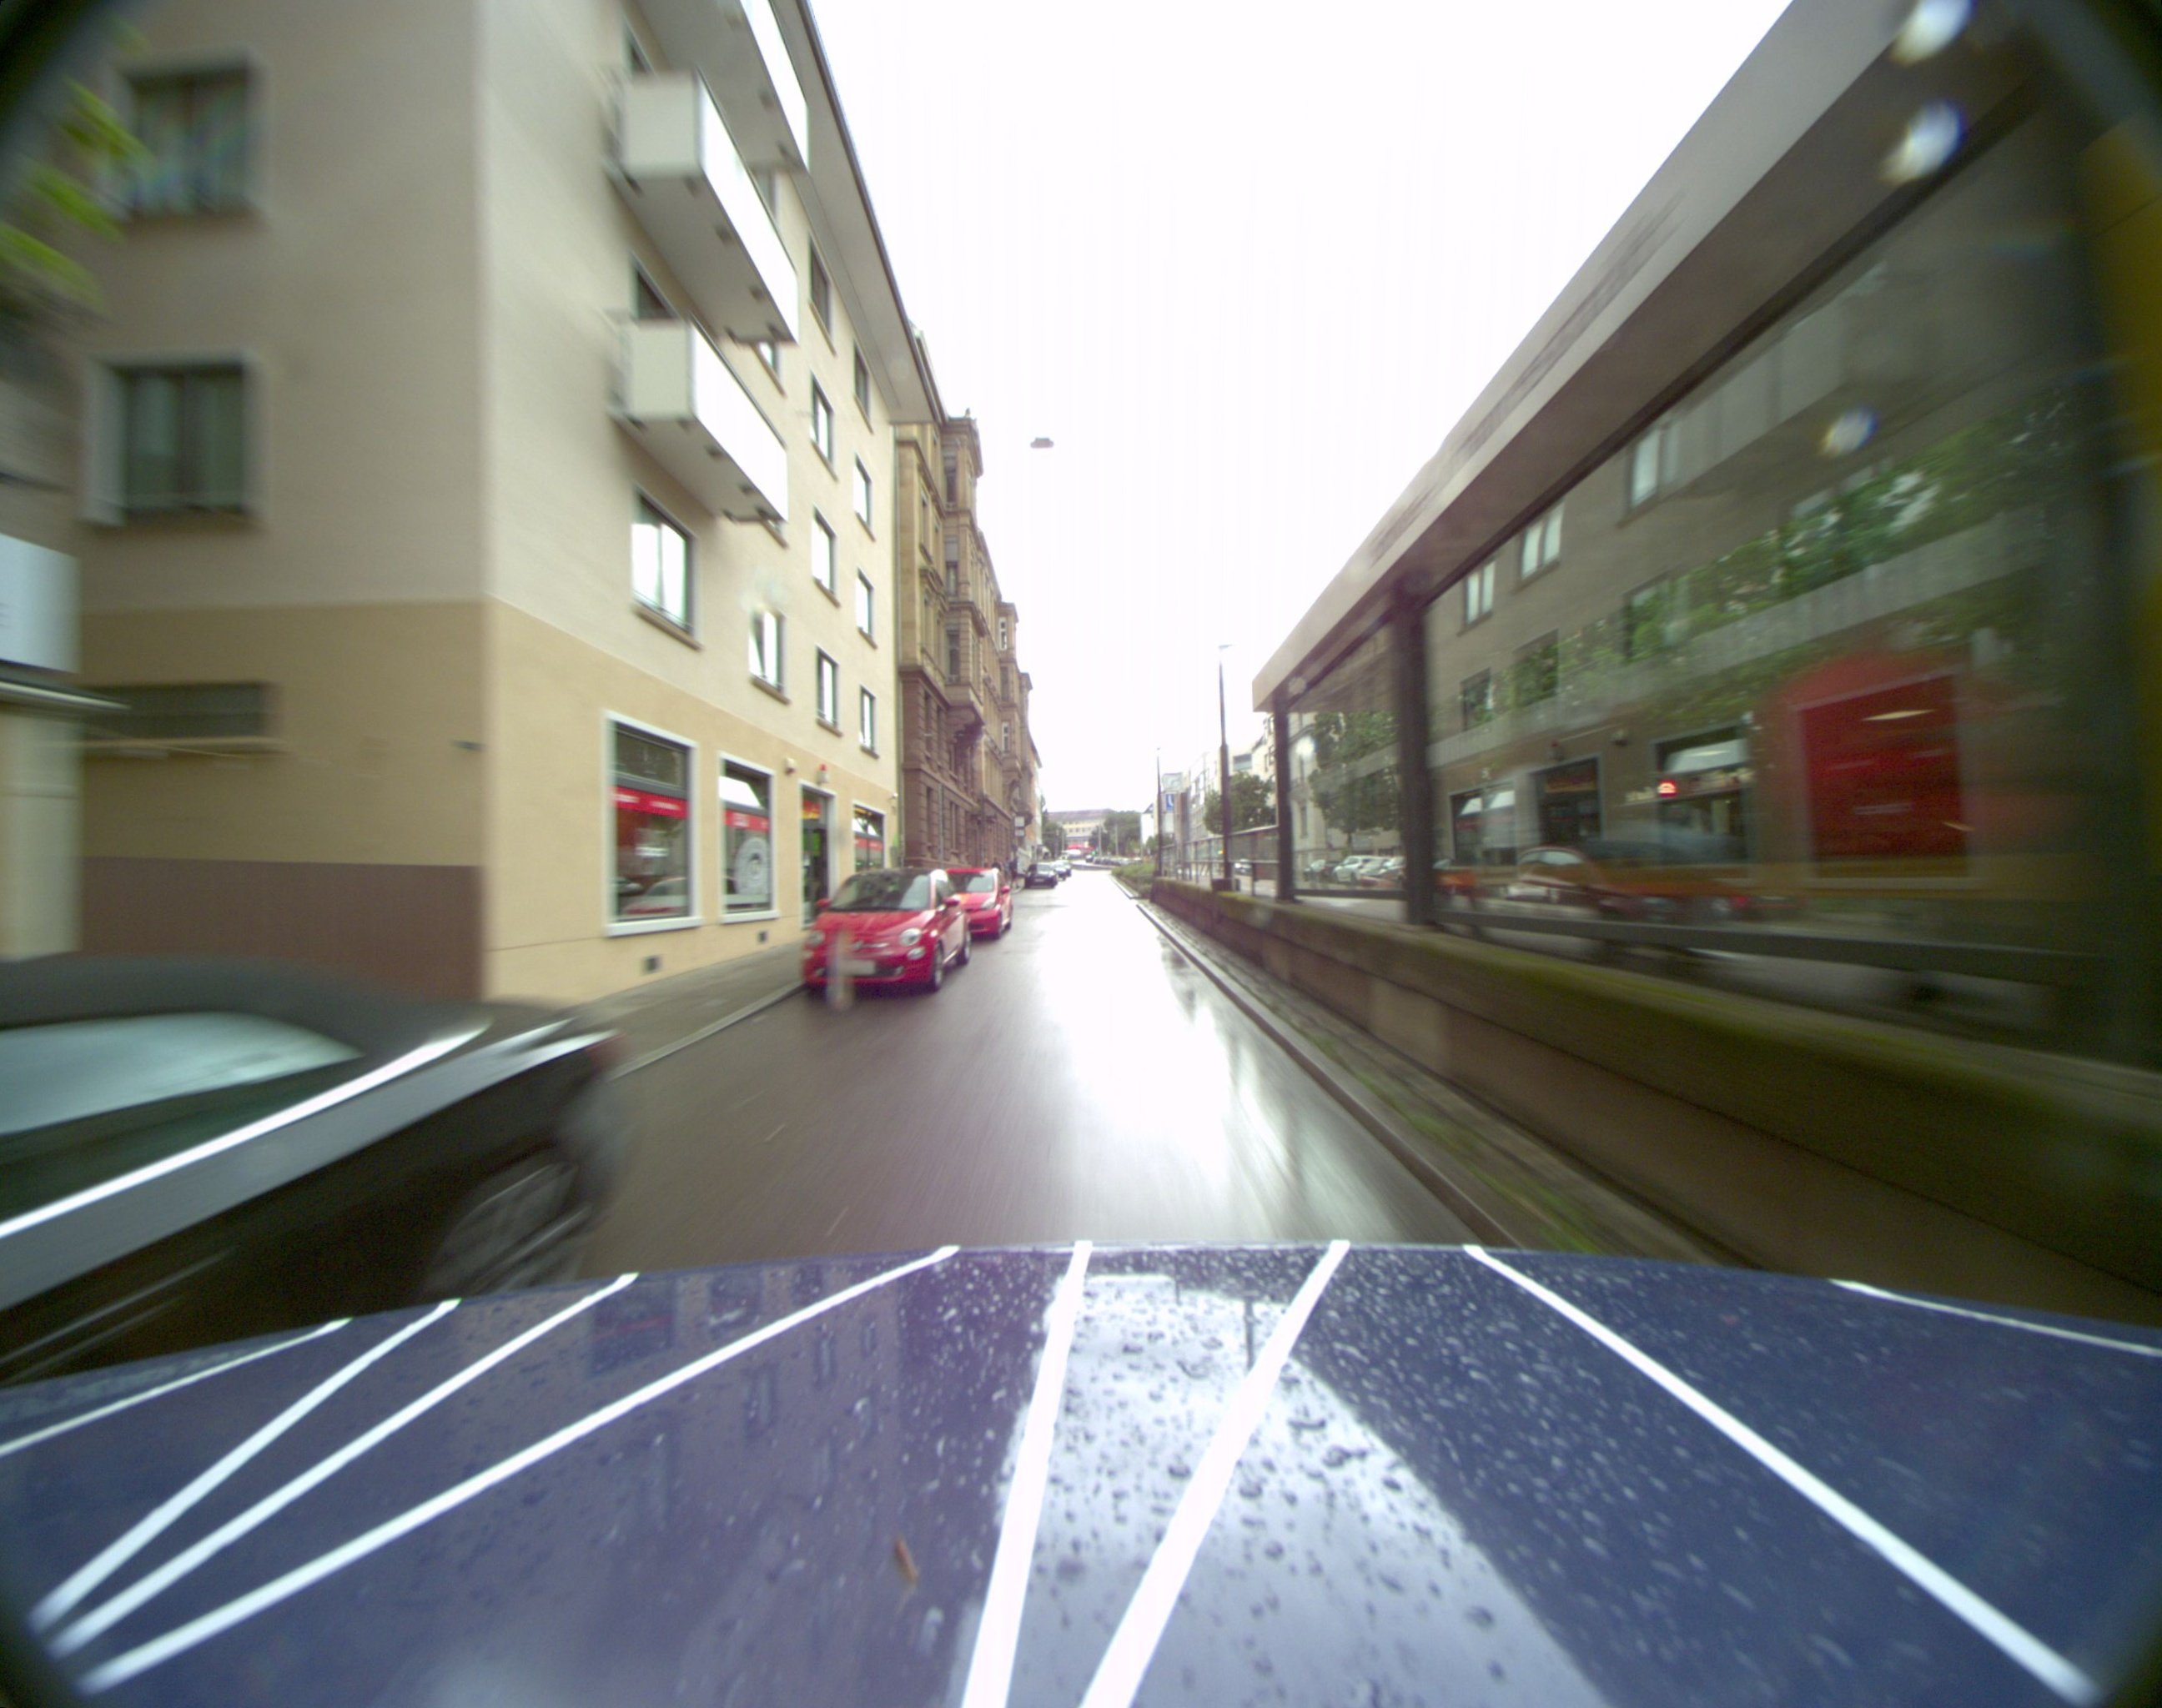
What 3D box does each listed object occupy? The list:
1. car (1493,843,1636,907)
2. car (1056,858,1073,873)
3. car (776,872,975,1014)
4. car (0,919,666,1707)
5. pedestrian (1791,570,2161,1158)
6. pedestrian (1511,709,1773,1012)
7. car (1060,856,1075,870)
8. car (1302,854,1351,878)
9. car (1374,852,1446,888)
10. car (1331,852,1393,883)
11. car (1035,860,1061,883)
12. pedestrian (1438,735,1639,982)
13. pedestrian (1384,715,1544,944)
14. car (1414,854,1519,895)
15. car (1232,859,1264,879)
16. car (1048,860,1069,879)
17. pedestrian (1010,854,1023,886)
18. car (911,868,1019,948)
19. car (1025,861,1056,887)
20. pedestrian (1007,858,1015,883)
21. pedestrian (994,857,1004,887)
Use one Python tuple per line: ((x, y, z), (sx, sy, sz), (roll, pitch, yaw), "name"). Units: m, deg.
((15.111, 0.588, 24.066), (1.678, 1.806, 4.432), (-1, 0, -1), "car")
((-1.600, 1.105, 75.282), (1.588, 1.442, 3.978), (-1, 0, 0), "car")
((-2.522, 1.031, 10.150), (1.649, 1.453, 3.414), (-1, 0, 1), "car")
((-2.655, 1.016, 0.949), (1.911, 1.453, 4.245), (-1, 0, 0), "car")
((2.592, 0.021, 2.033), (0.730, 1.294, 0.701), (-1, 1, -2), "pedestrian")
((2.613, 0.026, 3.617), (0.730, 1.294, 0.701), (-1, 1, -2), "pedestrian")
((-1.484, 1.010, 83.971), (1.588, 1.442, 3.978), (-1, 0, 0), "car")
((15.154, 0.724, 47.156), (1.718, 1.367, 4.457), (-1, 0, 2), "car")
((15.035, 0.676, 34.944), (1.642, 1.529, 4.022), (-1, 0, 1), "car")
((15.164, 0.688, 41.216), (1.662, 1.575, 4.337), (-1, 0, -1), "car")
((-2.119, 1.122, 49.840), (1.588, 1.405, 3.829), (-1, 0, -1), "car")
((2.574, 0.024, 4.349), (0.729, 1.294, 0.701), (-1, 1, 0), "pedestrian")
((3.025, -0.186, 6.066), (0.919, 1.714, 0.701), (-1, 1, -2), "pedestrian")
((14.866, 0.743, 29.608), (1.643, 1.432, 4.729), (-1, 0, -1), "car")
((12.572, 1.106, 57.425), (1.642, 1.453, 3.963), (-1, 0, 1), "car")
((-1.789, 1.218, 61.126), (1.588, 1.343, 3.977), (-1, 0, -1), "car")
((-3.544, 0.858, 41.548), (0.653, 1.752, 0.882), (-1, 1, -3), "pedestrian")
((-2.373, 1.075, 16.378), (1.720, 1.453, 3.445), (-1, 0, 1), "car")
((-2.315, 1.118, 43.852), (1.628, 1.343, 3.829), (-1, 0, -1), "car")
((-4.594, 1.054, 49.854), (0.485, 1.635, 0.463), (-1, 1, -3), "pedestrian")
((-4.493, 0.982, 41.443), (0.489, 1.635, 0.631), (-1, 1, -3), "pedestrian")
